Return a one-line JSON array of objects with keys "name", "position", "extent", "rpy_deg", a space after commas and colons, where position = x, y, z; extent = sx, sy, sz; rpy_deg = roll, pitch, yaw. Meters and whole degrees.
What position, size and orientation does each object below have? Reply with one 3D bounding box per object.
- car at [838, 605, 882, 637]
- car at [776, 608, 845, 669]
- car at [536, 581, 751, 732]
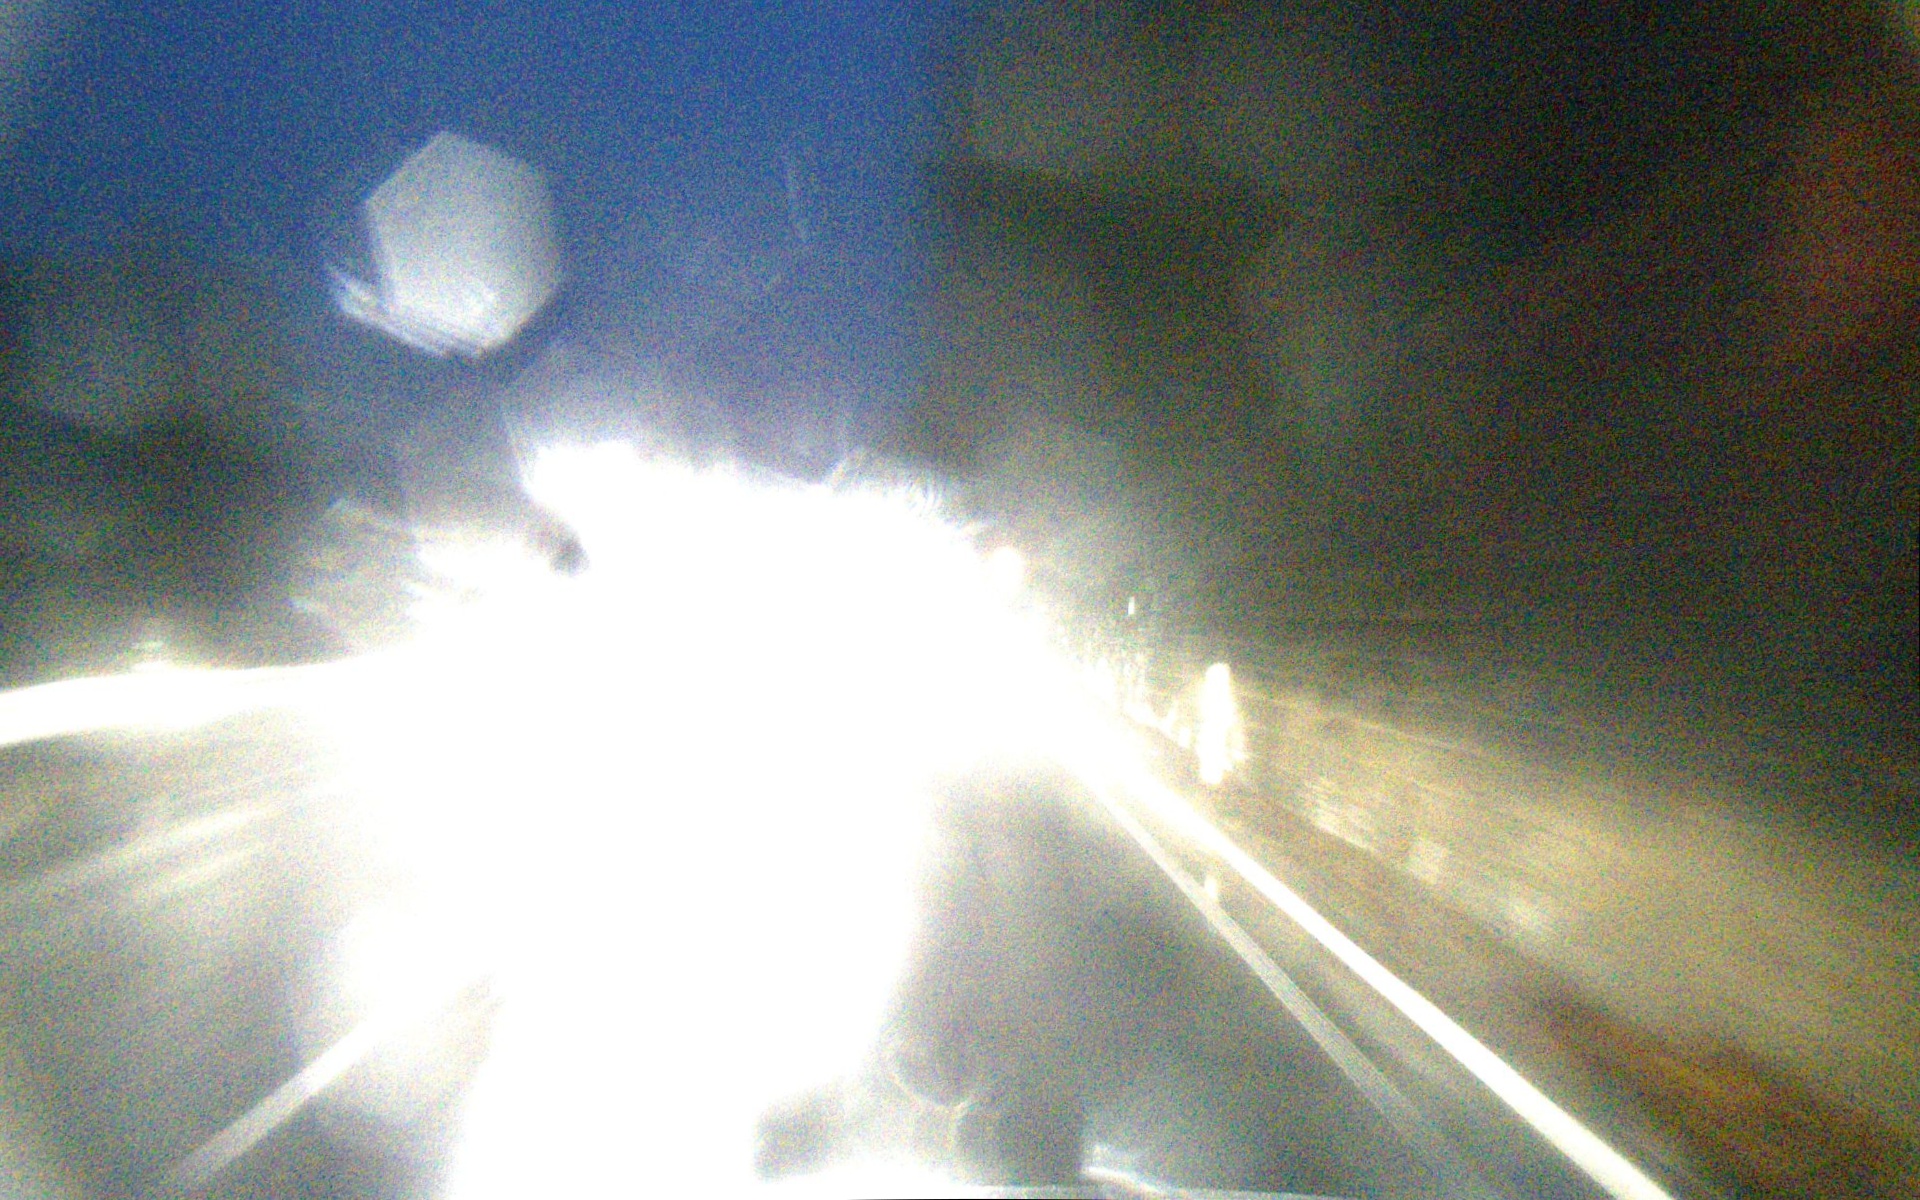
[{"name": "car", "position": [-4.952, 1.066, 82.589], "extent": [1.953, 1.523, 4.355], "rpy_deg": [1, -2, -1]}, {"name": "car", "position": [-4.109, 1.031, 45.884], "extent": [1.681, 1.581, 3.998], "rpy_deg": [0, 0, -2]}, {"name": "car", "position": [-3.639, 0.595, 19.777], "extent": [1.793, 1.582, 4.440], "rpy_deg": [1, 0, -1]}]
